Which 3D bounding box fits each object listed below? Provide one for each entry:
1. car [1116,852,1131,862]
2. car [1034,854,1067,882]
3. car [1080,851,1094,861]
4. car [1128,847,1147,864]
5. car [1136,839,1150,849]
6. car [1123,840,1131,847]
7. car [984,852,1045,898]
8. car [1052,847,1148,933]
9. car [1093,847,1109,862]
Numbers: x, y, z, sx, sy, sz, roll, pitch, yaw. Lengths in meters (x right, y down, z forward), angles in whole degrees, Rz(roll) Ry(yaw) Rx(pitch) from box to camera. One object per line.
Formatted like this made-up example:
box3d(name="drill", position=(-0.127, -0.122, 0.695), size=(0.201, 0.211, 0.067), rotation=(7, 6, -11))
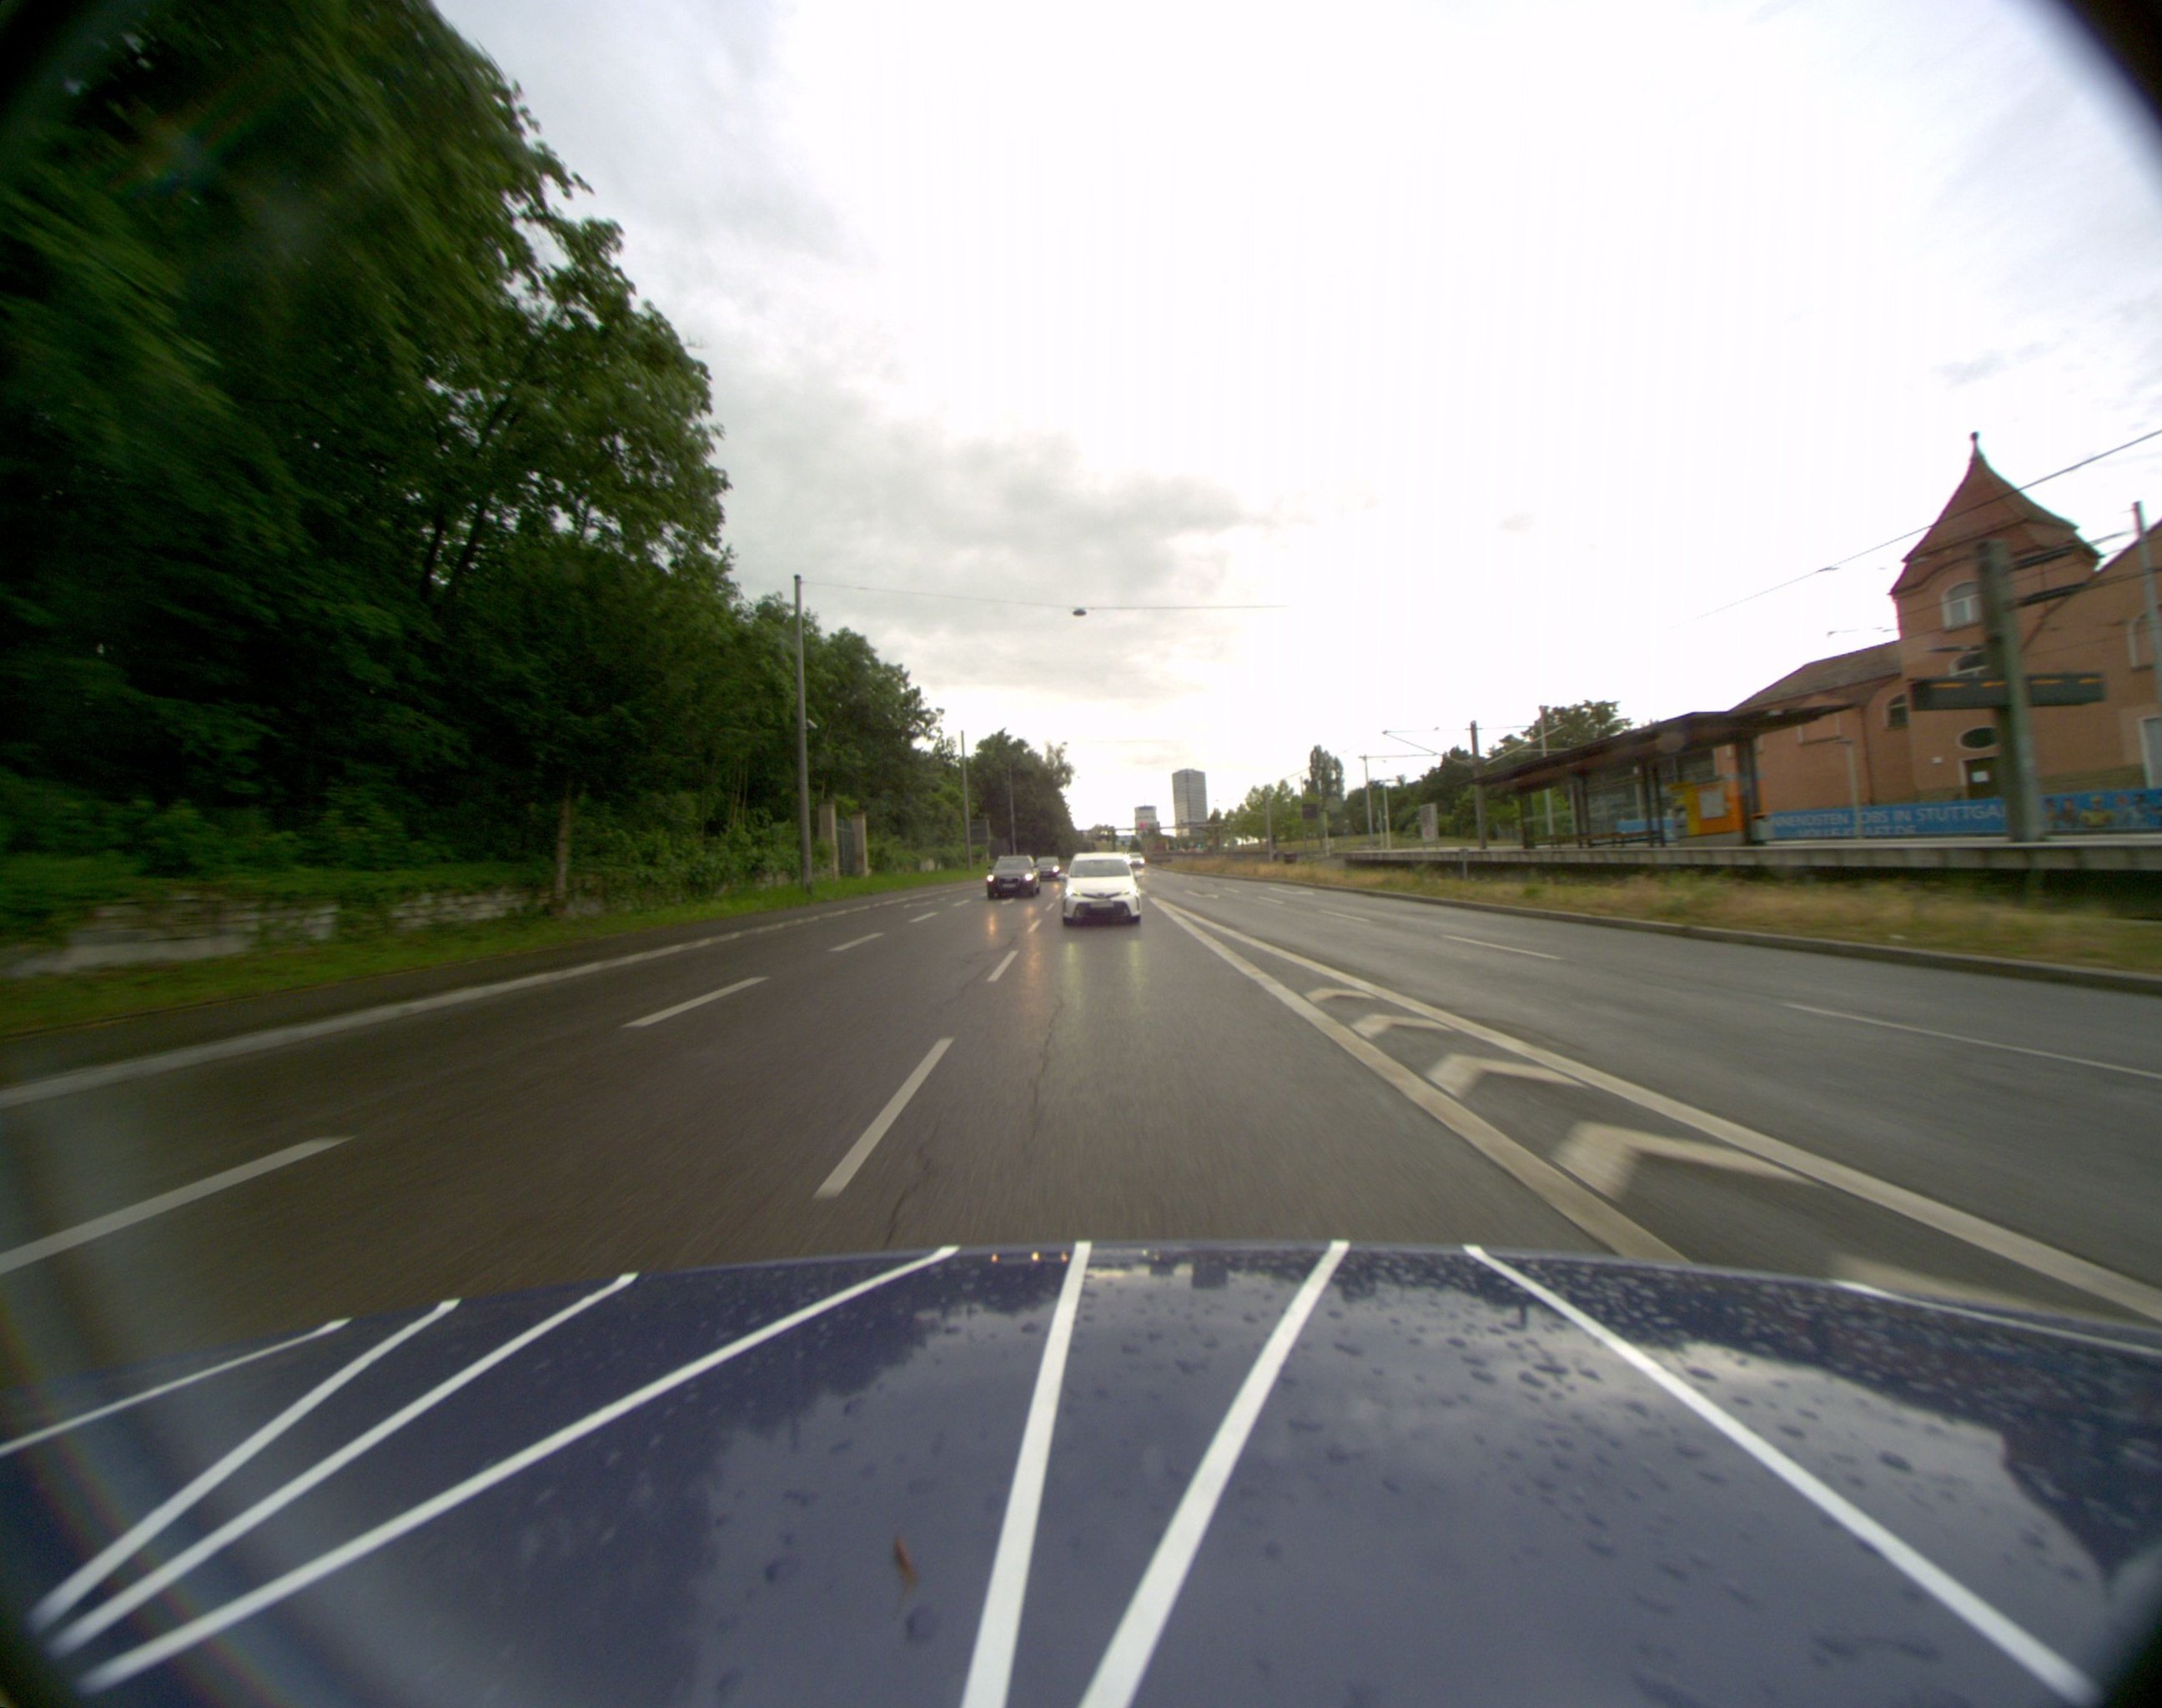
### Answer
box3d(name="car", position=(6.721, 0.482, 119.159), size=(1.802, 1.463, 3.998), rotation=(-3, 0, -4))
box3d(name="car", position=(-1.869, 0.855, 47.977), size=(1.738, 1.578, 4.000), rotation=(-2, 1, 2))
box3d(name="car", position=(0.911, 0.276, 115.395), size=(1.802, 1.463, 3.999), rotation=(-3, 0, -2))
box3d(name="car", position=(5.637, 0.107, 76.175), size=(1.738, 1.578, 4.000), rotation=(-2, 1, 2))
box3d(name="car", position=(10.492, -1.731, 129.156), size=(1.802, 1.463, 4.000), rotation=(-3, 0, -1))
box3d(name="car", position=(11.350, -2.545, 186.000), size=(1.801, 1.463, 4.001), rotation=(-3, 0, 4))
box3d(name="car", position=(-2.535, 0.785, 29.935), size=(1.855, 1.578, 4.000), rotation=(-2, 1, 2))
box3d(name="car", position=(0.327, 0.751, 18.175), size=(1.856, 1.741, 3.998), rotation=(-3, 1, -4))
box3d(name="car", position=(2.231, 0.065, 83.650), size=(1.738, 1.578, 4.000), rotation=(-2, 1, 2))
